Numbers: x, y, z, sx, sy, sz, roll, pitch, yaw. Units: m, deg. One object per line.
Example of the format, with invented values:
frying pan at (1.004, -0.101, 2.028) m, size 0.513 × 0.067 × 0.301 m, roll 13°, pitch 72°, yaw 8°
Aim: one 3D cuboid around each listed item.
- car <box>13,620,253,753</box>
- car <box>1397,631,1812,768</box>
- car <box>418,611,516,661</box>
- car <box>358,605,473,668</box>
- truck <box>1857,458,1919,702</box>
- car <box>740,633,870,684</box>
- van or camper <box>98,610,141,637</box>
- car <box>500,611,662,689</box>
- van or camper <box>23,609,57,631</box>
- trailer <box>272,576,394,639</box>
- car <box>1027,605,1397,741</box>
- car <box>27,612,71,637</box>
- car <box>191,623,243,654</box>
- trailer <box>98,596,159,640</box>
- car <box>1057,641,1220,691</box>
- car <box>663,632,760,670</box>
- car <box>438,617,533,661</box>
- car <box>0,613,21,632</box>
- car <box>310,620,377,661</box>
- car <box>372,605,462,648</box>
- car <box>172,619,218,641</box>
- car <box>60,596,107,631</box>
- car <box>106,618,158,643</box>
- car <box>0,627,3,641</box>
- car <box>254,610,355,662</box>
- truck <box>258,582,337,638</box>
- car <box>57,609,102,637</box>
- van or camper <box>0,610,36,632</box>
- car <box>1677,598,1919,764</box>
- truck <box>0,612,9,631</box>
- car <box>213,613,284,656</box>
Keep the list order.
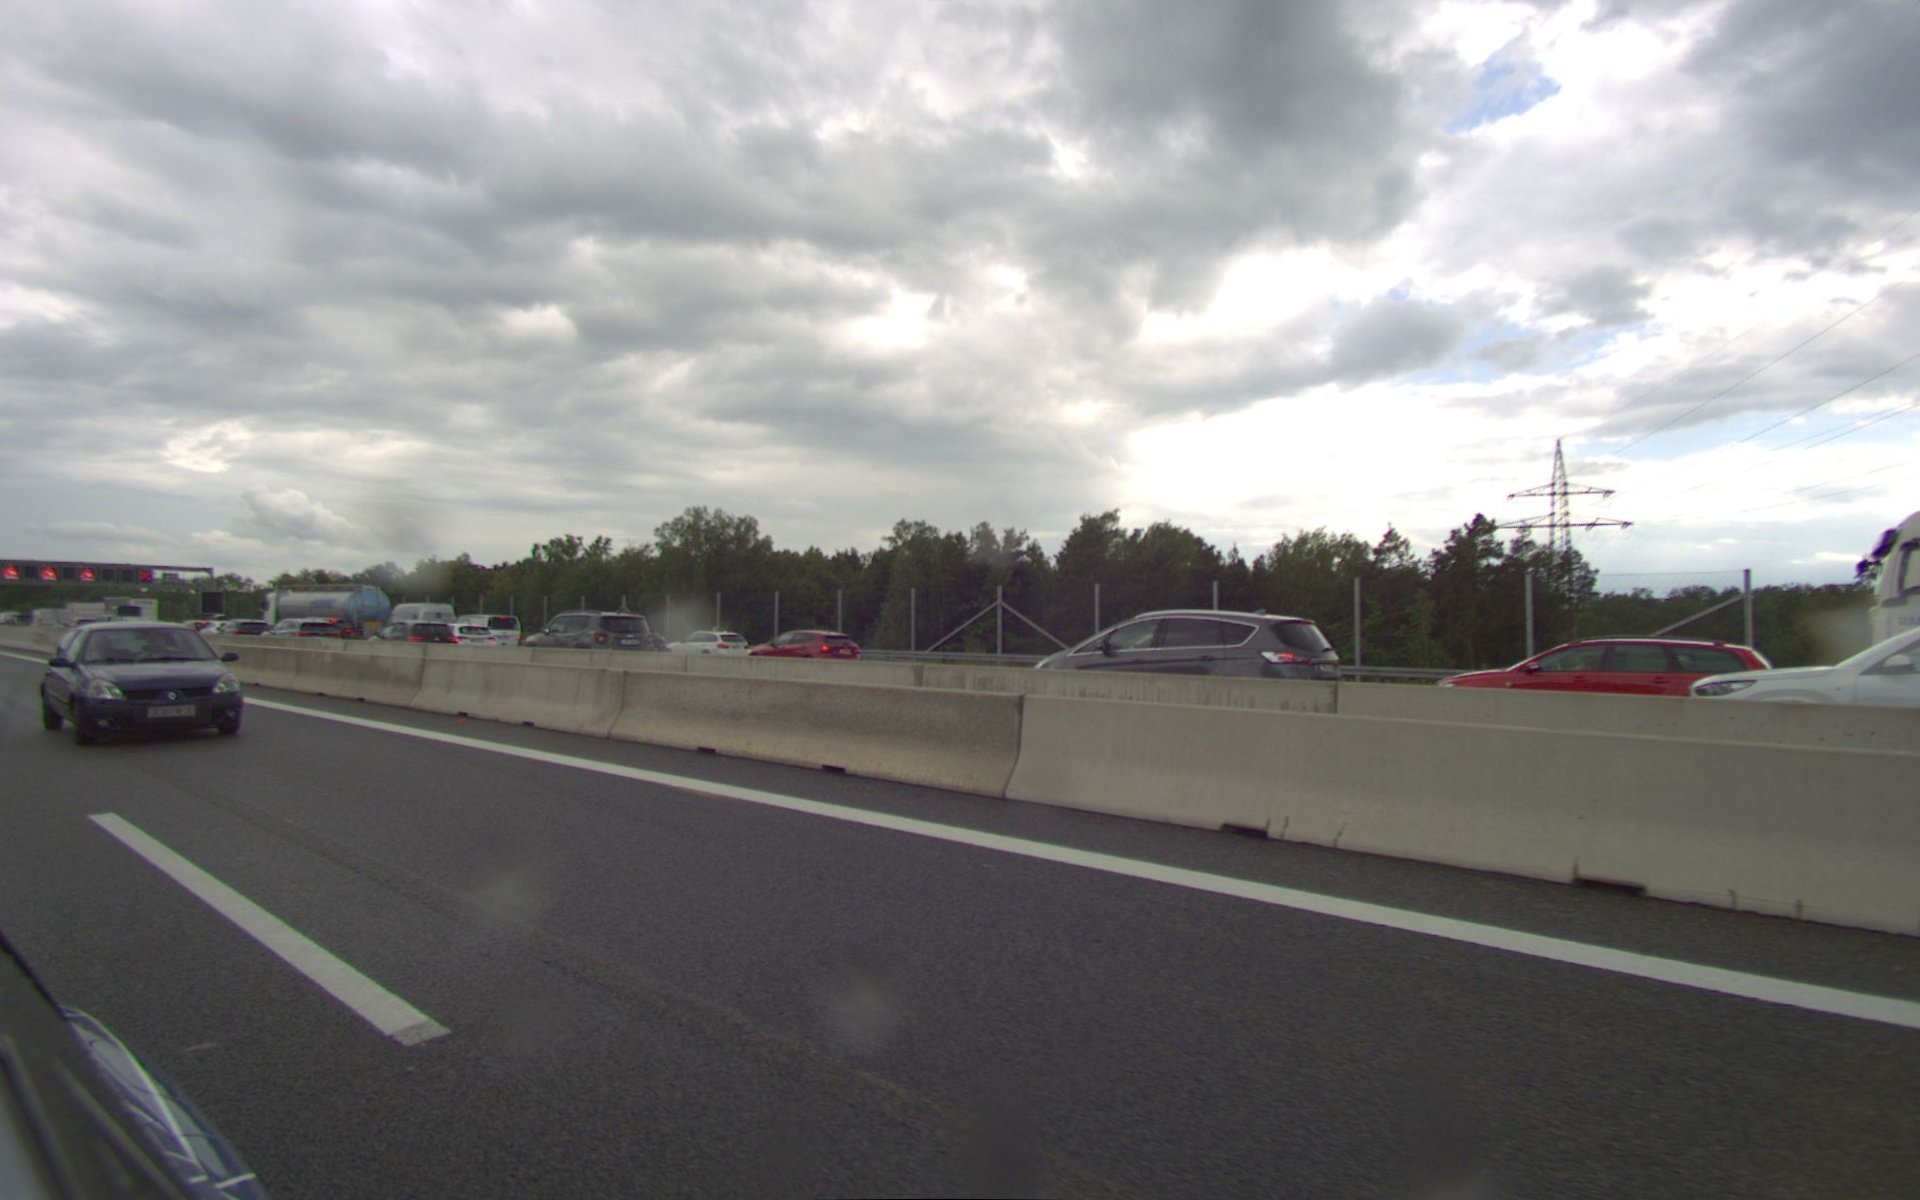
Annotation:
car at (-11.000, 0.981, 13.312) m, size 5.016 × 1.418 × 1.757 m, roll -1°, pitch -1°, yaw 43°
car at (9.433, 1.326, 15.127) m, size 4.998 × 1.690 × 1.874 m, roll -2°, pitch -1°, yaw 41°
car at (-20.358, 1.463, 41.728) m, size 4.424 × 1.952 × 2.094 m, roll -2°, pitch -1°, yaw 41°
car at (-18.103, 1.186, 33.598) m, size 3.998 × 1.952 × 2.094 m, roll -2°, pitch -1°, yaw 41°
truck at (16.505, -0.336, 13.610) m, size 6.524 × 3.432 × 3.012 m, roll -2°, pitch -1°, yaw 41°
car at (-4.953, 1.798, 32.117) m, size 4.139 × 1.468 × 1.850 m, roll -2°, pitch -1°, yaw 41°
van or camper at (-72.466, 2.042, 87.219) m, size 4.968 × 2.202 × 2.073 m, roll -2°, pitch -1°, yaw 41°
car at (-9.685, 1.207, 25.684) m, size 4.704 × 1.772 × 1.850 m, roll -2°, pitch -1°, yaw 41°
van or camper at (-126.995, 2.773, 139.664) m, size 6.206 × 2.869 × 2.558 m, roll -2°, pitch -2°, yaw 39°
trailer at (-39.276, 0.584, 63.039) m, size 13.603 × 3.553 × 2.682 m, roll -2°, pitch -1°, yaw 41°
car at (3.463, 0.930, 14.569) m, size 4.842 × 1.636 × 1.874 m, roll -2°, pitch -1°, yaw 41°
car at (-74.002, 2.014, 82.181) m, size 5.628 × 1.984 × 2.073 m, roll -2°, pitch -1°, yaw 41°
car at (-48.528, 2.497, 66.059) m, size 5.040 × 1.984 × 1.708 m, roll -2°, pitch -1°, yaw 41°
trailer at (-97.429, 2.159, 118.439) m, size 13.283 × 4.893 × 3.115 m, roll -2°, pitch -1°, yaw 40°
car at (4.999, 1.831, 28.738) m, size 4.360 × 1.217 × 1.629 m, roll -1°, pitch -1°, yaw 41°
car at (-10.641, 2.142, 43.209) m, size 3.998 × 1.462 × 2.094 m, roll -2°, pitch -1°, yaw 41°
car at (-22.643, 1.808, 48.197) m, size 5.436 × 1.952 × 2.094 m, roll -2°, pitch -1°, yaw 41°
car at (-128.840, 3.030, 136.664) m, size 6.061 × 2.507 × 2.180 m, roll -2°, pitch -3°, yaw 40°
car at (-31.885, 2.063, 52.284) m, size 3.998 × 1.968 × 1.874 m, roll -2°, pitch -1°, yaw 41°
car at (-29.229, 1.418, 54.355) m, size 6.615 × 2.166 × 2.094 m, roll -2°, pitch -1°, yaw 41°
car at (-54.354, 2.123, 71.854) m, size 4.350 × 1.514 × 1.781 m, roll -1°, pitch -1°, yaw 41°
car at (-85.097, 1.357, 98.183) m, size 7.623 × 3.325 × 2.472 m, roll -2°, pitch -1°, yaw 41°
car at (-51.994, 1.873, 63.533) m, size 4.970 × 1.495 × 1.746 m, roll -1°, pitch -1°, yaw 41°
car at (-102.153, 3.574, 106.489) m, size 4.931 × 1.504 × 1.625 m, roll -2°, pitch -1°, yaw 41°
car at (-26.450, 1.423, 40.763) m, size 5.212 × 1.952 × 2.094 m, roll -2°, pitch -1°, yaw 41°
truck at (-44.056, 0.722, 67.214) m, size 6.796 × 3.540 × 2.700 m, roll -2°, pitch -1°, yaw 41°
car at (-64.112, 1.653, 73.639) m, size 4.803 × 1.984 × 1.844 m, roll -1°, pitch -1°, yaw 41°
van or camper at (-88.610, 1.987, 95.043) m, size 6.343 × 2.029 × 1.973 m, roll -1°, pitch -1°, yaw 41°
car at (9.802, 0.713, 9.303) m, size 5.078 × 1.488 × 1.830 m, roll -2°, pitch -1°, yaw 41°
truck at (-180.142, 4.052, 189.274) m, size 7.801 × 3.564 × 2.438 m, roll -2°, pitch -3°, yaw 40°
car at (-34.492, 1.635, 48.999) m, size 4.210 × 1.968 × 1.874 m, roll -2°, pitch -1°, yaw 41°
